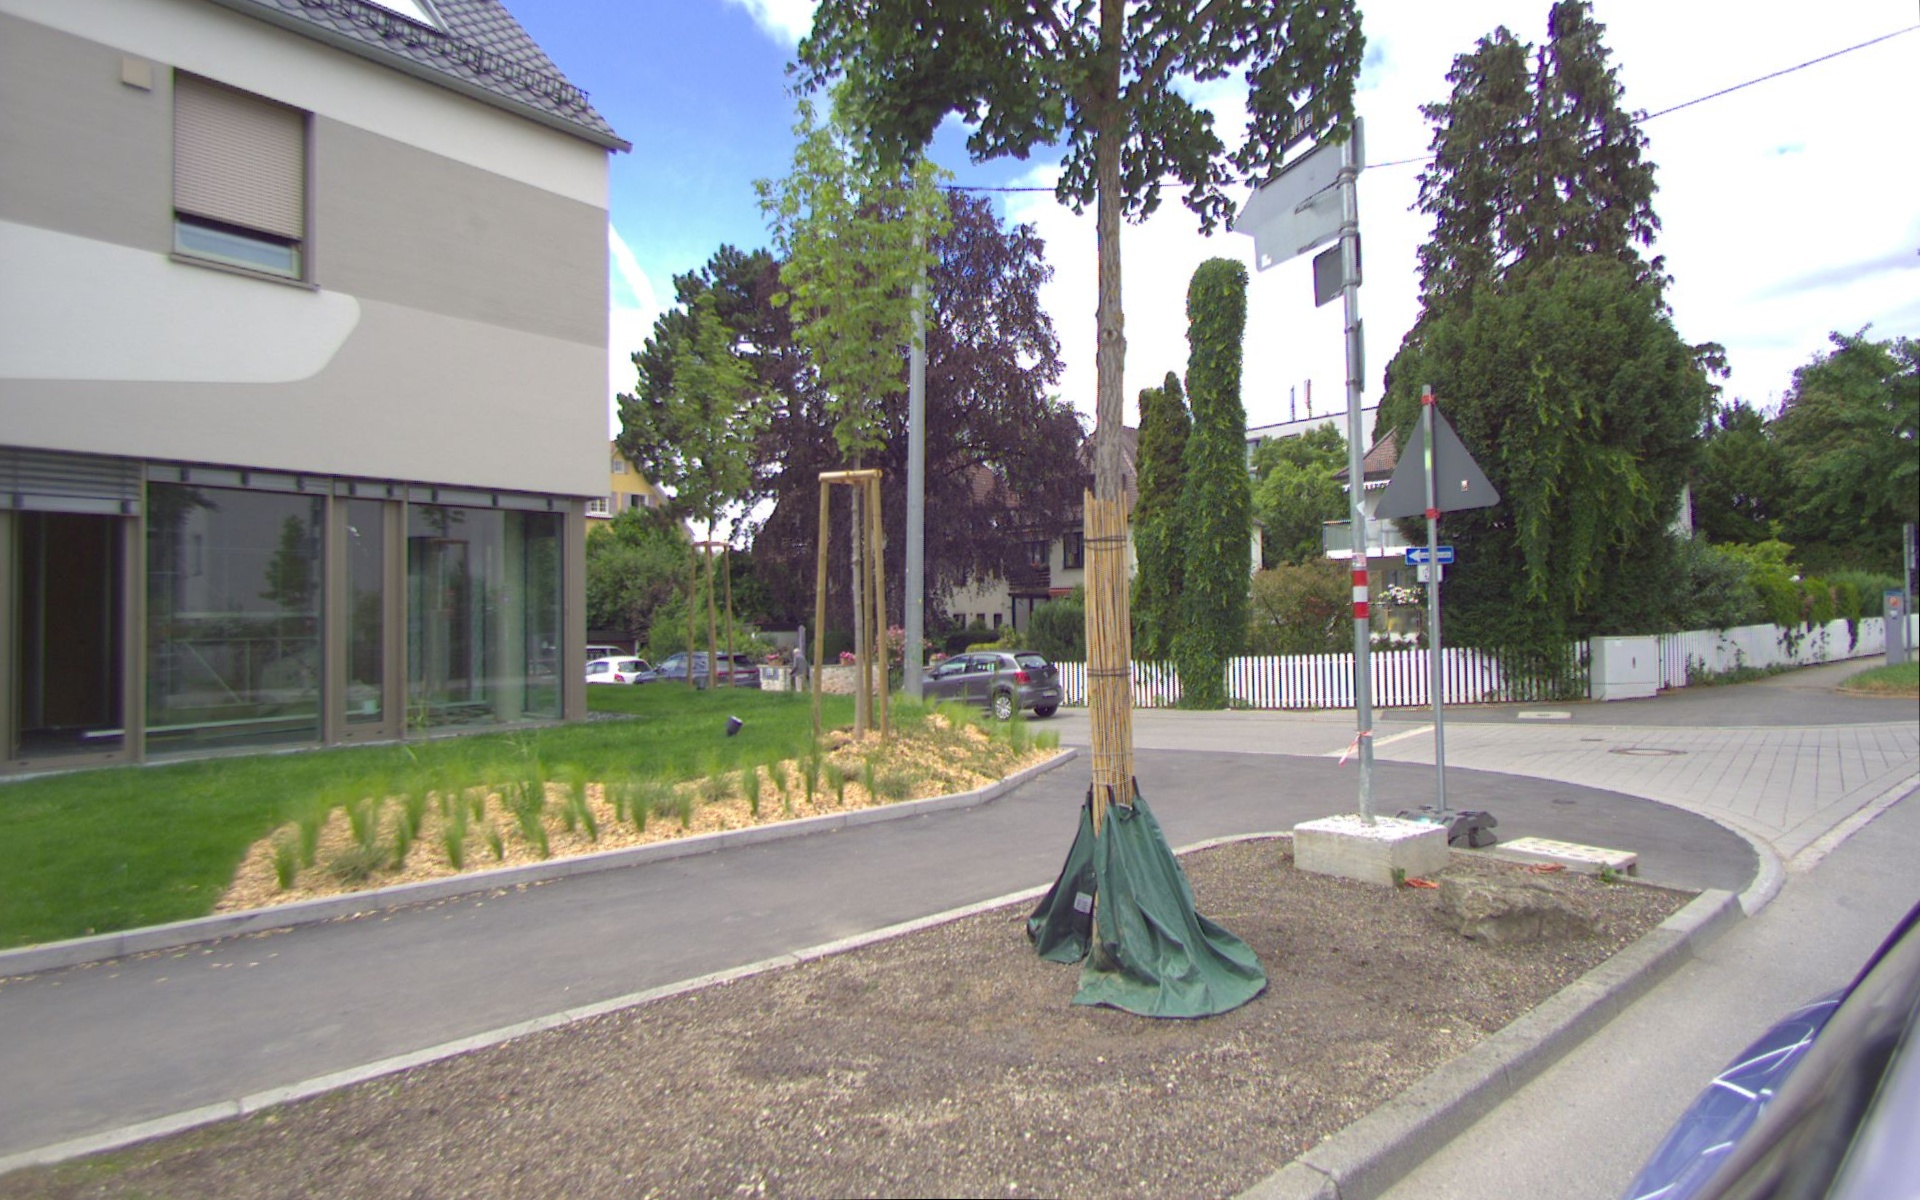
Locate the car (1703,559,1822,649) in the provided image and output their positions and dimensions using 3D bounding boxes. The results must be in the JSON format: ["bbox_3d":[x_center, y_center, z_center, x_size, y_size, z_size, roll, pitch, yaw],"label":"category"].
[{"bbox_3d":[27.030,0.151,34.011,2.497,2.717,5.104,-5,-3,44],"label":"car"}]

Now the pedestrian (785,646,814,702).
[{"bbox_3d":[-4.611,2.121,29.051,0.566,1.568,0.544,-1,-3,-38],"label":"pedestrian"}]

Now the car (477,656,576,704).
[{"bbox_3d":[-15.458,2.843,36.000,3.875,1.564,1.638,-4,-3,40],"label":"car"}]

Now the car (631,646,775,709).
[{"bbox_3d":[-7.501,2.236,29.336,4.322,1.628,1.861,-4,-3,40],"label":"car"}]

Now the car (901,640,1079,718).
[{"bbox_3d":[0.602,1.687,21.762,3.515,1.477,1.690,-4,-3,40],"label":"car"}]

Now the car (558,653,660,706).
[{"bbox_3d":[-11.416,2.574,32.848,3.328,1.564,1.638,-4,-3,40],"label":"car"}]
